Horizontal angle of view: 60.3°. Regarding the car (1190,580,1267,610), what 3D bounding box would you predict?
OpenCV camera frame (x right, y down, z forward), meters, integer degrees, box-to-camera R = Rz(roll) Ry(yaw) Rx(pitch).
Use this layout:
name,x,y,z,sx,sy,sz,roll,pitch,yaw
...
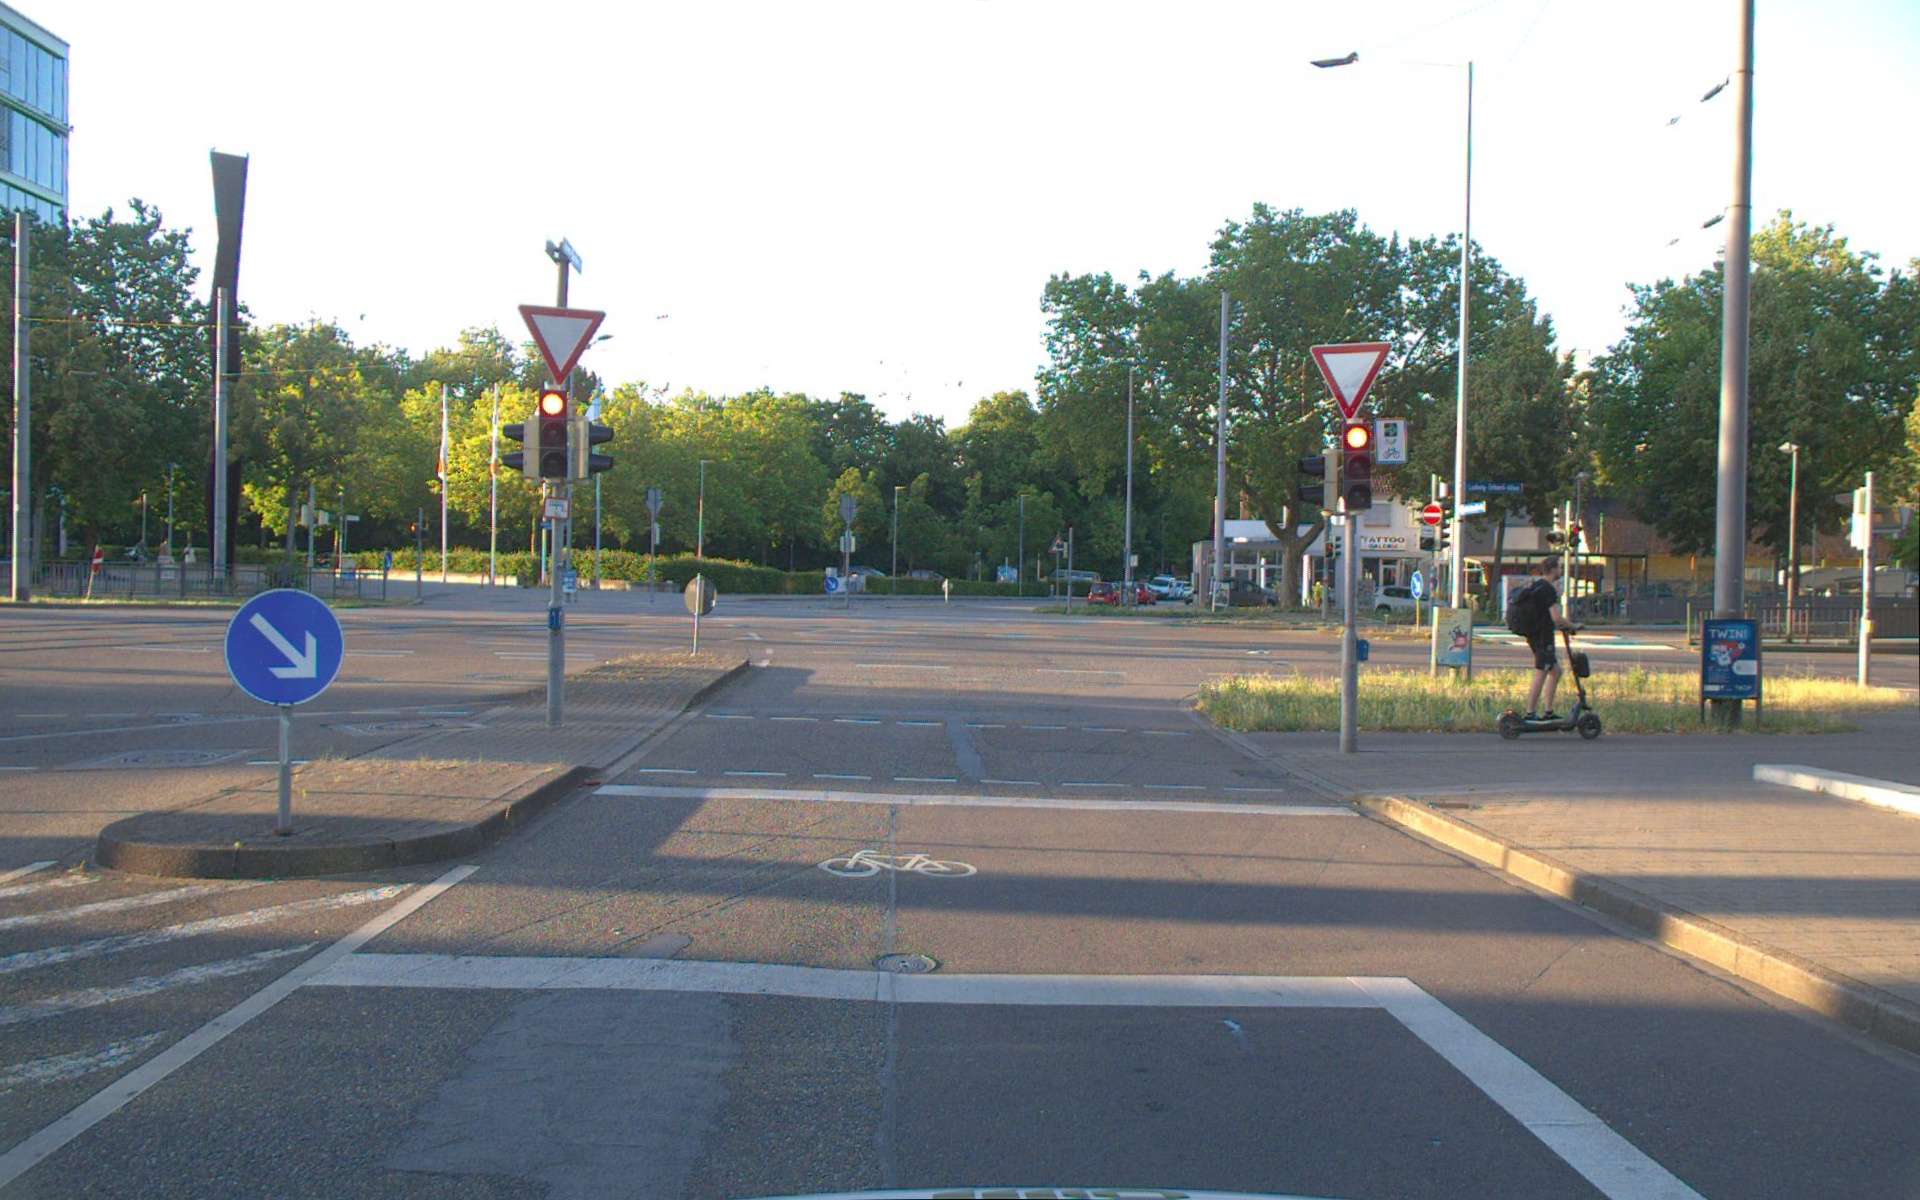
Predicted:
name,x,y,z,sx,sy,sz,roll,pitch,yaw
car,14.779,-0.250,91.193,4.129,1.579,2.001,1,0,7

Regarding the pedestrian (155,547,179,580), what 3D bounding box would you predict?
name,x,y,z,sx,sy,sz,roll,pitch,yaw
pedestrian,-43.767,-2.000,91.309,0.842,1.774,0.830,1,1,21

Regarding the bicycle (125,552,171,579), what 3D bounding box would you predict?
name,x,y,z,sx,sy,sz,roll,pitch,yaw
bicycle,-42.414,-1.798,86.384,2.629,1.364,0.732,1,1,26

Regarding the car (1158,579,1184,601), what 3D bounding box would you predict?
name,x,y,z,sx,sy,sz,roll,pitch,yaw
car,17.600,-0.821,138.153,1.823,1.825,4.003,1,0,12

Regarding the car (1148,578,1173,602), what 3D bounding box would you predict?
name,x,y,z,sx,sy,sz,roll,pitch,yaw
car,16.185,-0.818,133.239,1.823,1.825,4.003,1,0,10

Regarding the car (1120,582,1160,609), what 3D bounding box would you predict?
name,x,y,z,sx,sy,sz,roll,pitch,yaw
car,11.464,-0.263,105.352,1.951,1.691,4.003,1,0,15

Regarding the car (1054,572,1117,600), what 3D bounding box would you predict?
name,x,y,z,sx,sy,sz,roll,pitch,yaw
car,9.688,-1.058,127.837,4.675,2.041,2.000,1,0,1

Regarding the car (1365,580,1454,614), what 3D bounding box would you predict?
name,x,y,z,sx,sy,sz,roll,pitch,yaw
car,20.178,-0.135,74.344,3.659,1.465,1.665,1,0,9

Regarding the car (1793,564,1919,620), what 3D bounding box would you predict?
name,x,y,z,sx,sy,sz,roll,pitch,yaw
car,43.839,-0.413,80.447,5.476,2.596,2.231,1,1,7

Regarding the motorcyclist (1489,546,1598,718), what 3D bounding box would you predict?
name,x,y,z,sx,sy,sz,roll,pitch,yaw
motorcyclist,6.192,0.329,17.573,0.881,1.776,0.676,1,1,-1

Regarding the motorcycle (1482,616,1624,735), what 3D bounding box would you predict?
name,x,y,z,sx,sy,sz,roll,pitch,yaw
motorcycle,6.272,0.791,17.531,1.284,1.209,0.566,1,1,1

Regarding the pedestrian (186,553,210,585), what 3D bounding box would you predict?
name,x,y,z,sx,sy,sz,roll,pitch,yaw
pedestrian,-42.789,-1.744,92.879,0.844,1.774,0.828,1,1,30

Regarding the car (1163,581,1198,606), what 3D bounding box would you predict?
name,x,y,z,sx,sy,sz,roll,pitch,yaw
car,15.718,-0.451,117.638,1.951,1.691,4.003,1,0,15

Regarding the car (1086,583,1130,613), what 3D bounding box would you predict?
name,x,y,z,sx,sy,sz,roll,pitch,yaw
car,8.755,-0.119,97.627,1.951,1.691,4.003,1,0,15

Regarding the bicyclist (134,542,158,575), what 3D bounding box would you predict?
name,x,y,z,sx,sy,sz,roll,pitch,yaw
bicyclist,-42.508,-2.162,86.385,0.899,1.739,0.752,1,1,26
